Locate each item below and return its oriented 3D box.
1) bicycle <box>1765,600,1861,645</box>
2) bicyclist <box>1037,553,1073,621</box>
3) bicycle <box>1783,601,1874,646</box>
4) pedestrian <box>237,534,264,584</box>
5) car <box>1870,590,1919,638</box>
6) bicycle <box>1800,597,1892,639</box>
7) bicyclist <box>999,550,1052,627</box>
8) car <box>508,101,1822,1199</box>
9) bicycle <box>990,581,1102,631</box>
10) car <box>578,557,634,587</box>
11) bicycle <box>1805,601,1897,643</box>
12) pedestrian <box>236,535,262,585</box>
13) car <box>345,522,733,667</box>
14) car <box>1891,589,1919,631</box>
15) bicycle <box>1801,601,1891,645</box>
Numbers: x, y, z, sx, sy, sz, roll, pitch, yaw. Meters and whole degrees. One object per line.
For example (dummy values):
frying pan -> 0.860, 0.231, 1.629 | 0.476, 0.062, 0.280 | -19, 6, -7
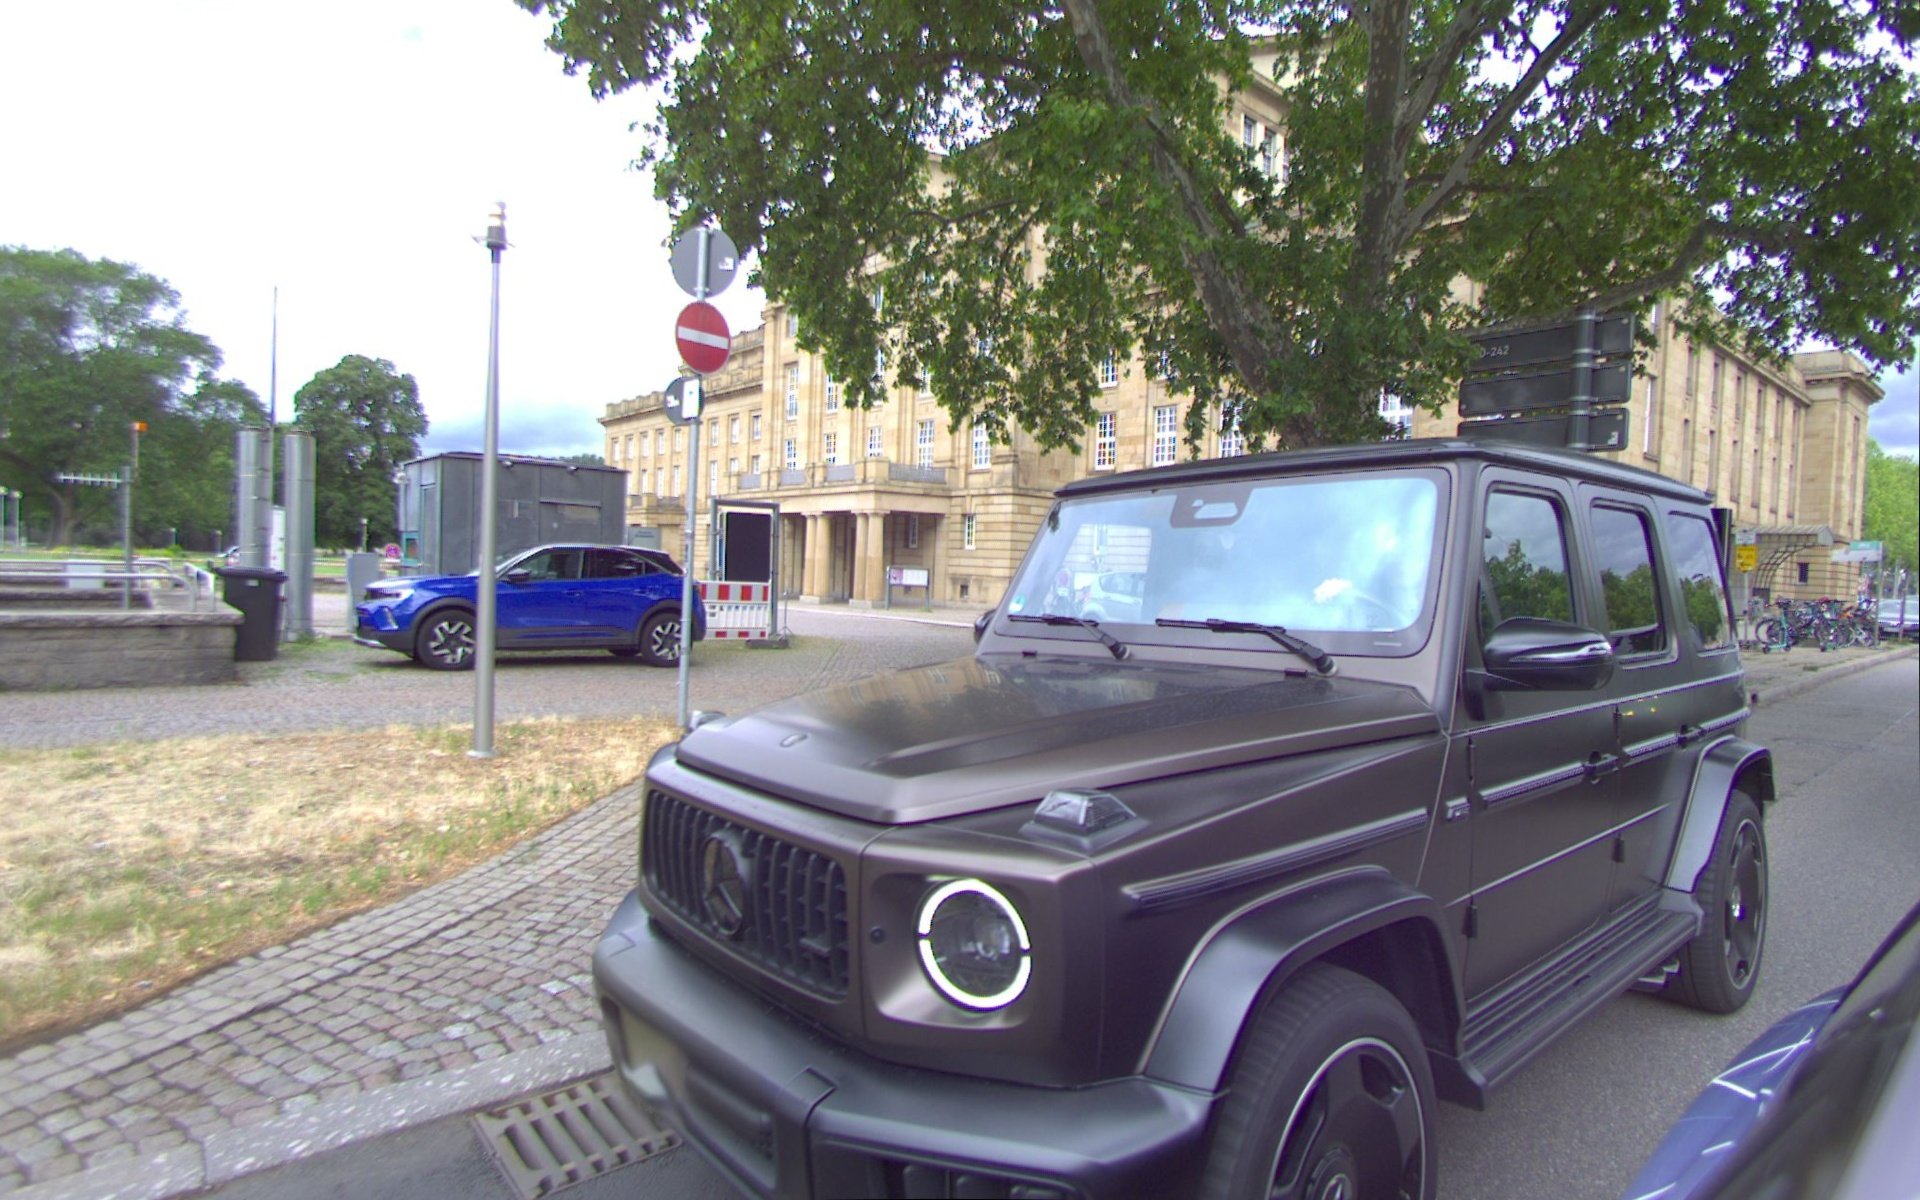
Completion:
bicycle -> 22.895, 0.584, 27.197 | 1.912, 1.112, 0.533 | 3, 2, 43
bicyclist -> 2.891, -0.383, 30.820 | 0.869, 2.039, 0.837 | 0, 0, 25
bicycle -> 23.571, 0.618, 27.484 | 1.835, 1.085, 0.609 | 3, 2, 43
pedestrian -> -28.962, -1.664, 41.333 | 0.801, 2.039, 0.766 | -1, 1, -41
car -> 33.611, 0.462, 35.483 | 3.927, 1.549, 1.844 | -1, 3, -38
bicycle -> 26.002, 0.511, 29.747 | 1.922, 1.146, 0.535 | 3, 1, 31
bicyclist -> 1.784, -0.323, 27.553 | 1.005, 2.039, 1.091 | 2, 0, 33
car -> 1.199, 0.367, 3.421 | 4.625, 1.917, 1.981 | -1, 1, -41
bicycle -> 2.272, 0.140, 27.047 | 2.826, 1.199, 1.084 | 2, 2, 35
car -> -21.706, -1.698, 61.962 | 1.964, 1.738, 3.995 | -1, 1, -39
bicycle -> 25.081, 0.599, 28.515 | 1.826, 1.085, 0.526 | 3, 1, 31
pedestrian -> -29.617, -1.670, 42.149 | 0.801, 2.039, 0.857 | -1, 1, -41
car -> -5.179, -0.036, 12.698 | 4.139, 1.536, 1.769 | 2, 1, -38
car -> 39.480, 0.416, 41.018 | 3.927, 1.613, 1.868 | -1, 3, -38
bicycle -> 24.392, 0.609, 27.894 | 1.834, 1.085, 0.524 | 3, 2, 42
